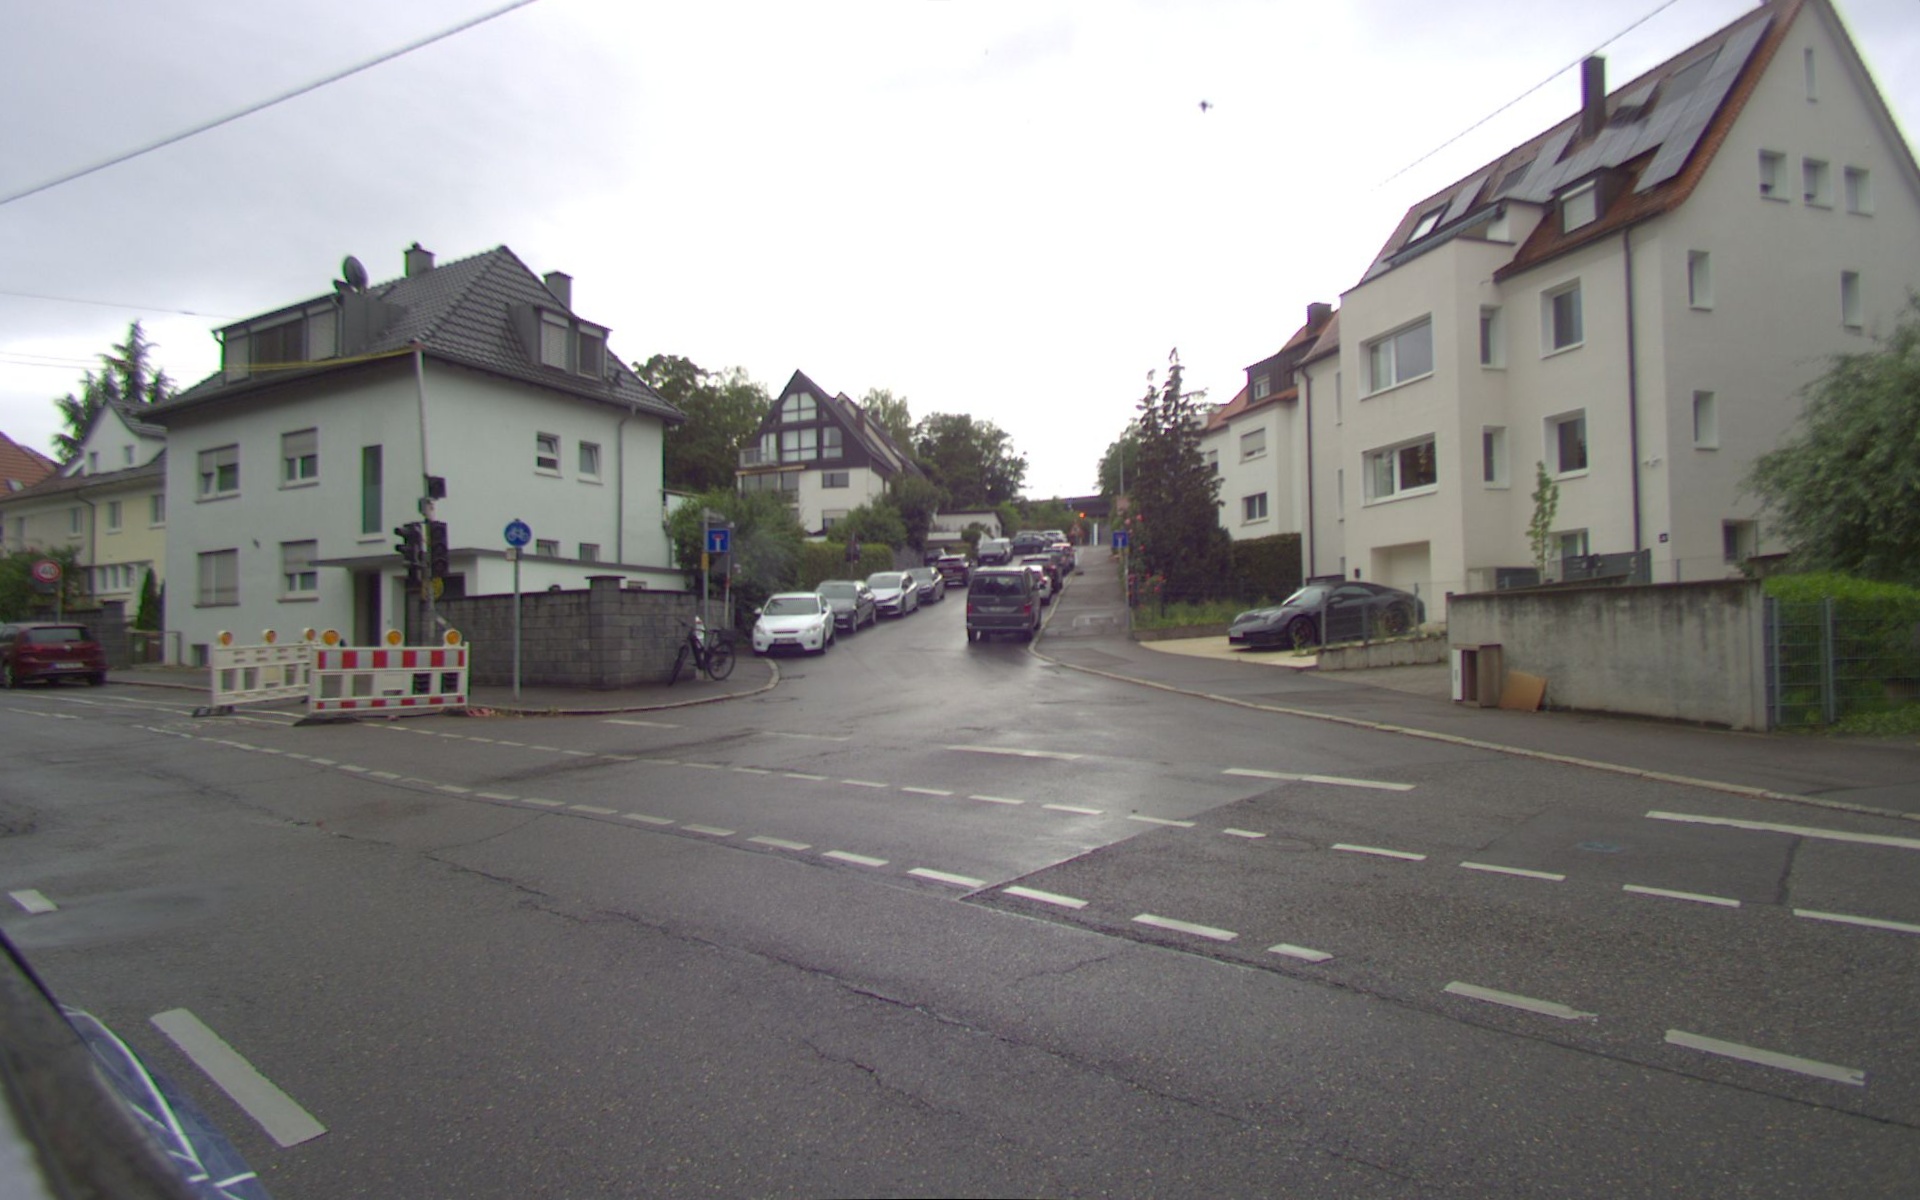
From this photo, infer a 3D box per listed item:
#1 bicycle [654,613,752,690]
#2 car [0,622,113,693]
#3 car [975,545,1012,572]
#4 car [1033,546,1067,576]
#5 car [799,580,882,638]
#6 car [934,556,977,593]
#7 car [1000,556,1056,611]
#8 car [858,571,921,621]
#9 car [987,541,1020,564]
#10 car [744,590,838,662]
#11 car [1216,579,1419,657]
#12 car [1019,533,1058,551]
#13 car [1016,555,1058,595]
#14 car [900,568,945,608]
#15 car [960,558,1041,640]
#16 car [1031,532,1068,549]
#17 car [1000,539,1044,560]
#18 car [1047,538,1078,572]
[{"bbox_3d":[-4.682,0.908,18.543,0.705,1.321,1.713,-1,0,33],"label":"bicycle"},{"bbox_3d":[-21.457,1.344,23.365,3.785,1.505,1.877,-3,-3,33],"label":"car"},{"bbox_3d":[2.302,-2.854,68.647,1.720,1.510,3.817,-1,6,13],"label":"car"},{"bbox_3d":[5.202,-2.252,58.314,1.677,1.479,3.553,-2,5,9],"label":"car"},{"bbox_3d":[-3.672,0.233,31.749,1.684,1.476,3.847,-2,3,7],"label":"car"},{"bbox_3d":[-0.186,-1.359,52.288,1.323,1.566,3.971,-1,6,13],"label":"car"},{"bbox_3d":[2.711,-0.688,39.870,1.900,1.850,3.406,-2,5,9],"label":"car"},{"bbox_3d":[-2.506,-0.192,36.945,1.564,1.476,3.847,-1,5,7],"label":"car"},{"bbox_3d":[3.269,-3.567,75.681,1.720,1.510,3.817,-1,6,13],"label":"car"},{"bbox_3d":[-4.236,0.608,25.805,1.726,1.476,3.561,-2,3,0],"label":"car"},{"bbox_3d":[7.692,0.364,21.851,3.857,1.342,1.572,-4,1,-16],"label":"car"},{"bbox_3d":[7.643,-5.662,98.758,3.489,1.510,1.615,-1,6,16],"label":"car"},{"bbox_3d":[3.473,-1.137,45.129,1.565,1.479,3.553,-2,5,9],"label":"car"},{"bbox_3d":[-1.534,-0.525,42.587,1.320,1.400,3.497,-1,5,7],"label":"car"},{"bbox_3d":[1.231,-0.087,28.921,1.893,1.950,3.789,-2,5,9],"label":"car"},{"bbox_3d":[9.176,-6.078,103.771,3.492,1.510,1.614,-1,6,18],"label":"car"},{"bbox_3d":[5.143,-4.219,83.768,3.572,1.510,1.578,-2,5,7],"label":"car"},{"bbox_3d":[6.378,-2.813,62.628,1.677,1.871,3.553,-2,5,9],"label":"car"}]
